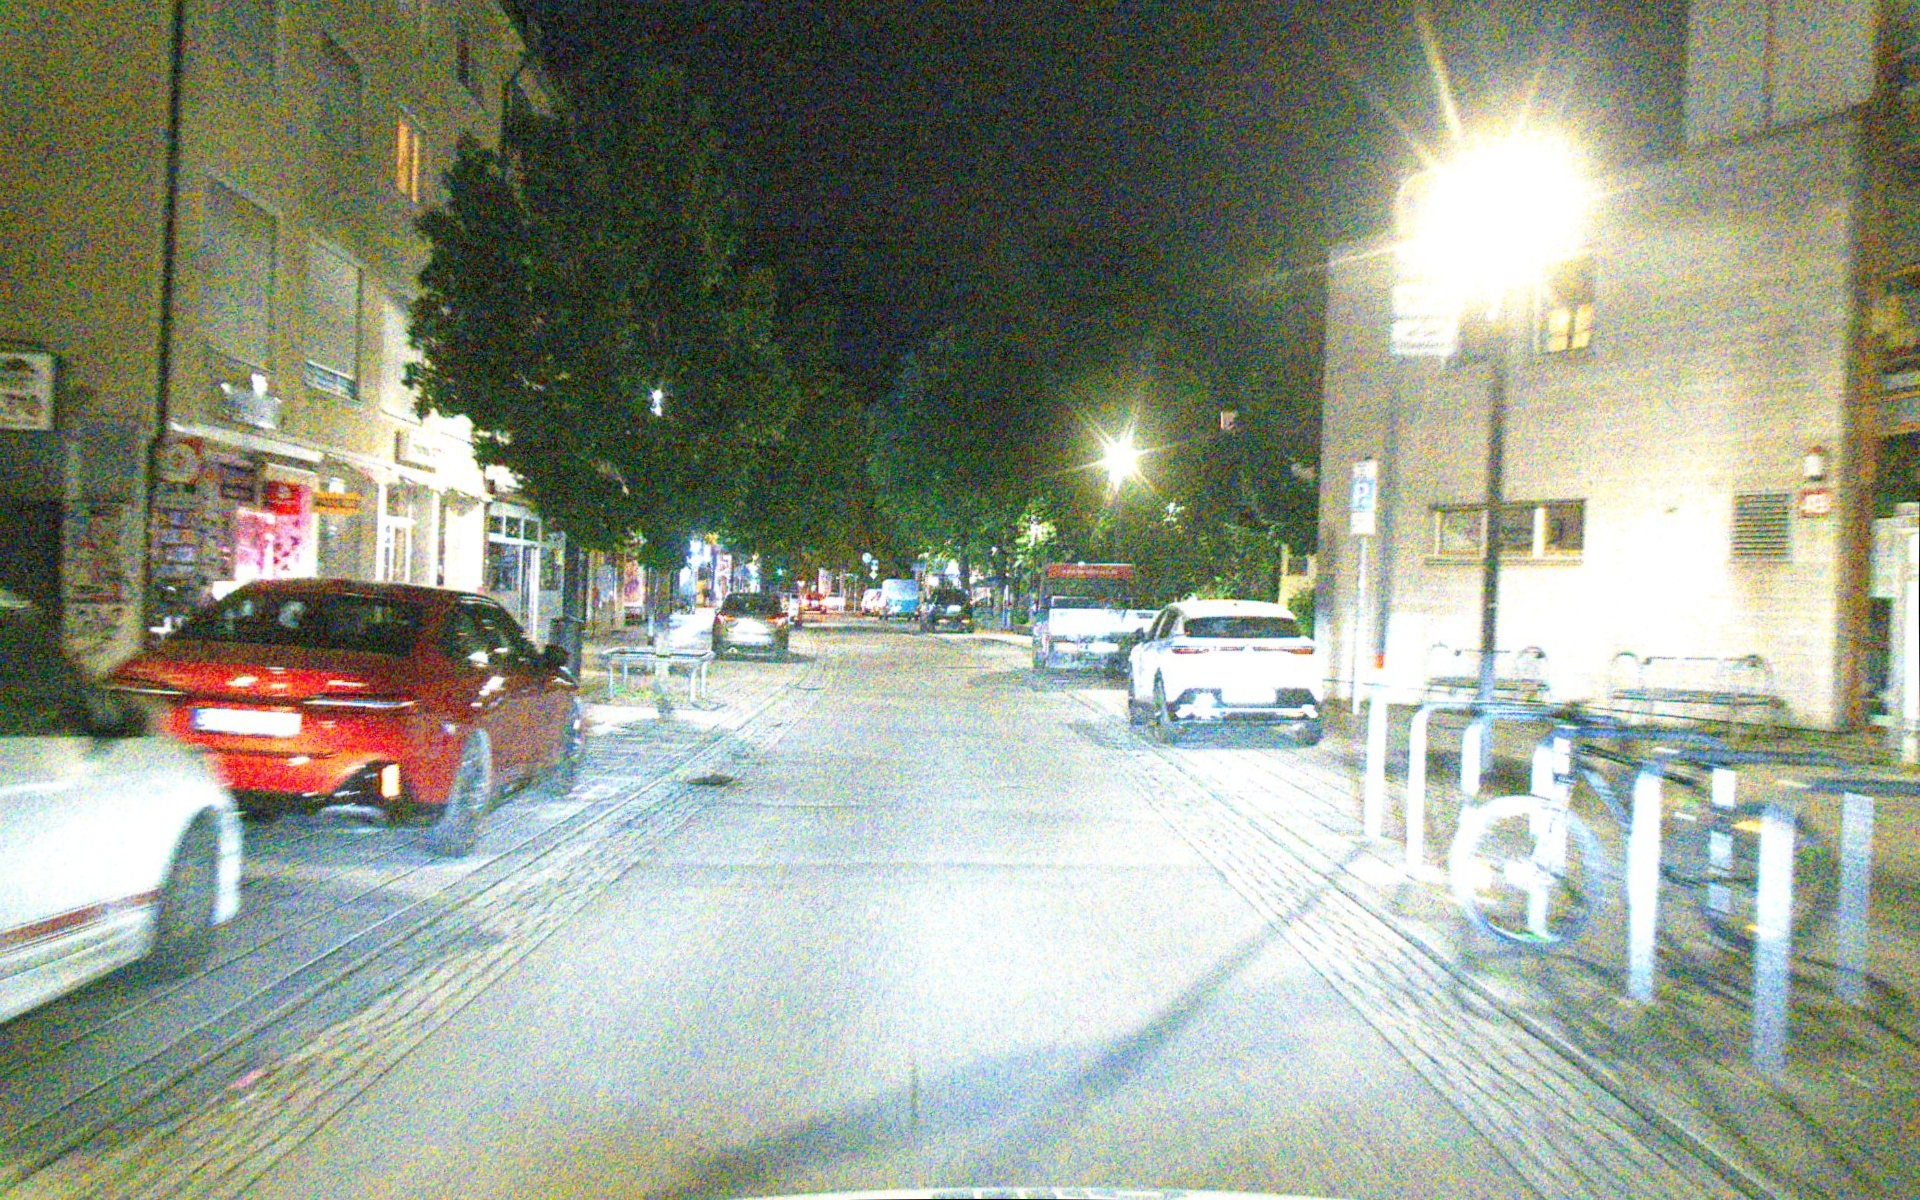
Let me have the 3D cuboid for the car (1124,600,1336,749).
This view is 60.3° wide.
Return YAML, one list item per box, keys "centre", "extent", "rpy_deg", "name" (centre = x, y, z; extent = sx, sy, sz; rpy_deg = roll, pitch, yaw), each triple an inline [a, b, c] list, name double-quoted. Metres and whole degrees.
- centre: [2.957, 0.768, 18.920]
  extent: [1.753, 1.517, 4.058]
  rpy_deg: [0, 0, 0]
  name: "car"

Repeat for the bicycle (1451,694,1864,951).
- centre: [3.110, 0.988, 7.407]
  extent: [1.719, 1.081, 0.346]
  rpy_deg: [1, 0, -4]
  name: "bicycle"

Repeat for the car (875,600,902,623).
- centre: [-4.722, 0.713, 108.244]
  extent: [1.502, 1.443, 3.840]
  rpy_deg: [1, 0, -6]
  name: "car"

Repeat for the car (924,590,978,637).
- centre: [-0.410, 0.540, 69.673]
  extent: [1.780, 1.860, 4.340]
  rpy_deg: [1, 0, -7]
  name: "car"

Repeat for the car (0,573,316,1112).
- centre: [-3.542, 0.657, 5.051]
  extent: [1.694, 1.502, 3.845]
  rpy_deg: [3, 0, -2]
  name: "car"

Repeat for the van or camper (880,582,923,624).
- centre: [-3.395, 0.168, 95.566]
  extent: [2.069, 2.358, 4.254]
  rpy_deg: [0, 0, -8]
  name: "van or camper"

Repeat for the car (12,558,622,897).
- centre: [-3.655, 0.631, 10.607]
  extent: [1.979, 1.513, 5.006]
  rpy_deg: [4, 0, -2]
  name: "car"

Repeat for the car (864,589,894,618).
- centre: [-5.629, 0.264, 114.306]
  extent: [1.804, 1.934, 3.840]
  rpy_deg: [1, 0, -6]
  name: "car"

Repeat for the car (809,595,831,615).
- centre: [-11.985, 0.418, 141.376]
  extent: [1.804, 1.569, 3.840]
  rpy_deg: [1, 0, -6]
  name: "car"

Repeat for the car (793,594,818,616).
- centre: [-12.533, 0.404, 133.949]
  extent: [1.955, 1.732, 3.995]
  rpy_deg: [2, 0, -6]
  name: "car"

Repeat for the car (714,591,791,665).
- centre: [-4.821, 0.623, 38.560]
  extent: [1.642, 1.570, 4.224]
  rpy_deg: [2, 0, -7]
  name: "car"

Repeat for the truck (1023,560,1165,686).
- centre: [2.667, 0.437, 34.380]
  extent: [2.289, 2.352, 5.778]
  rpy_deg: [1, 0, -2]
  name: "truck"

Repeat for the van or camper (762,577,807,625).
- centre: [-8.095, 0.050, 76.177]
  extent: [1.831, 2.046, 4.254]
  rpy_deg: [3, 0, -8]
  name: "van or camper"

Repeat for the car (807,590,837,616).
- centre: [-10.057, 0.221, 120.218]
  extent: [1.955, 1.855, 3.994]
  rpy_deg: [2, 0, -7]
  name: "car"
